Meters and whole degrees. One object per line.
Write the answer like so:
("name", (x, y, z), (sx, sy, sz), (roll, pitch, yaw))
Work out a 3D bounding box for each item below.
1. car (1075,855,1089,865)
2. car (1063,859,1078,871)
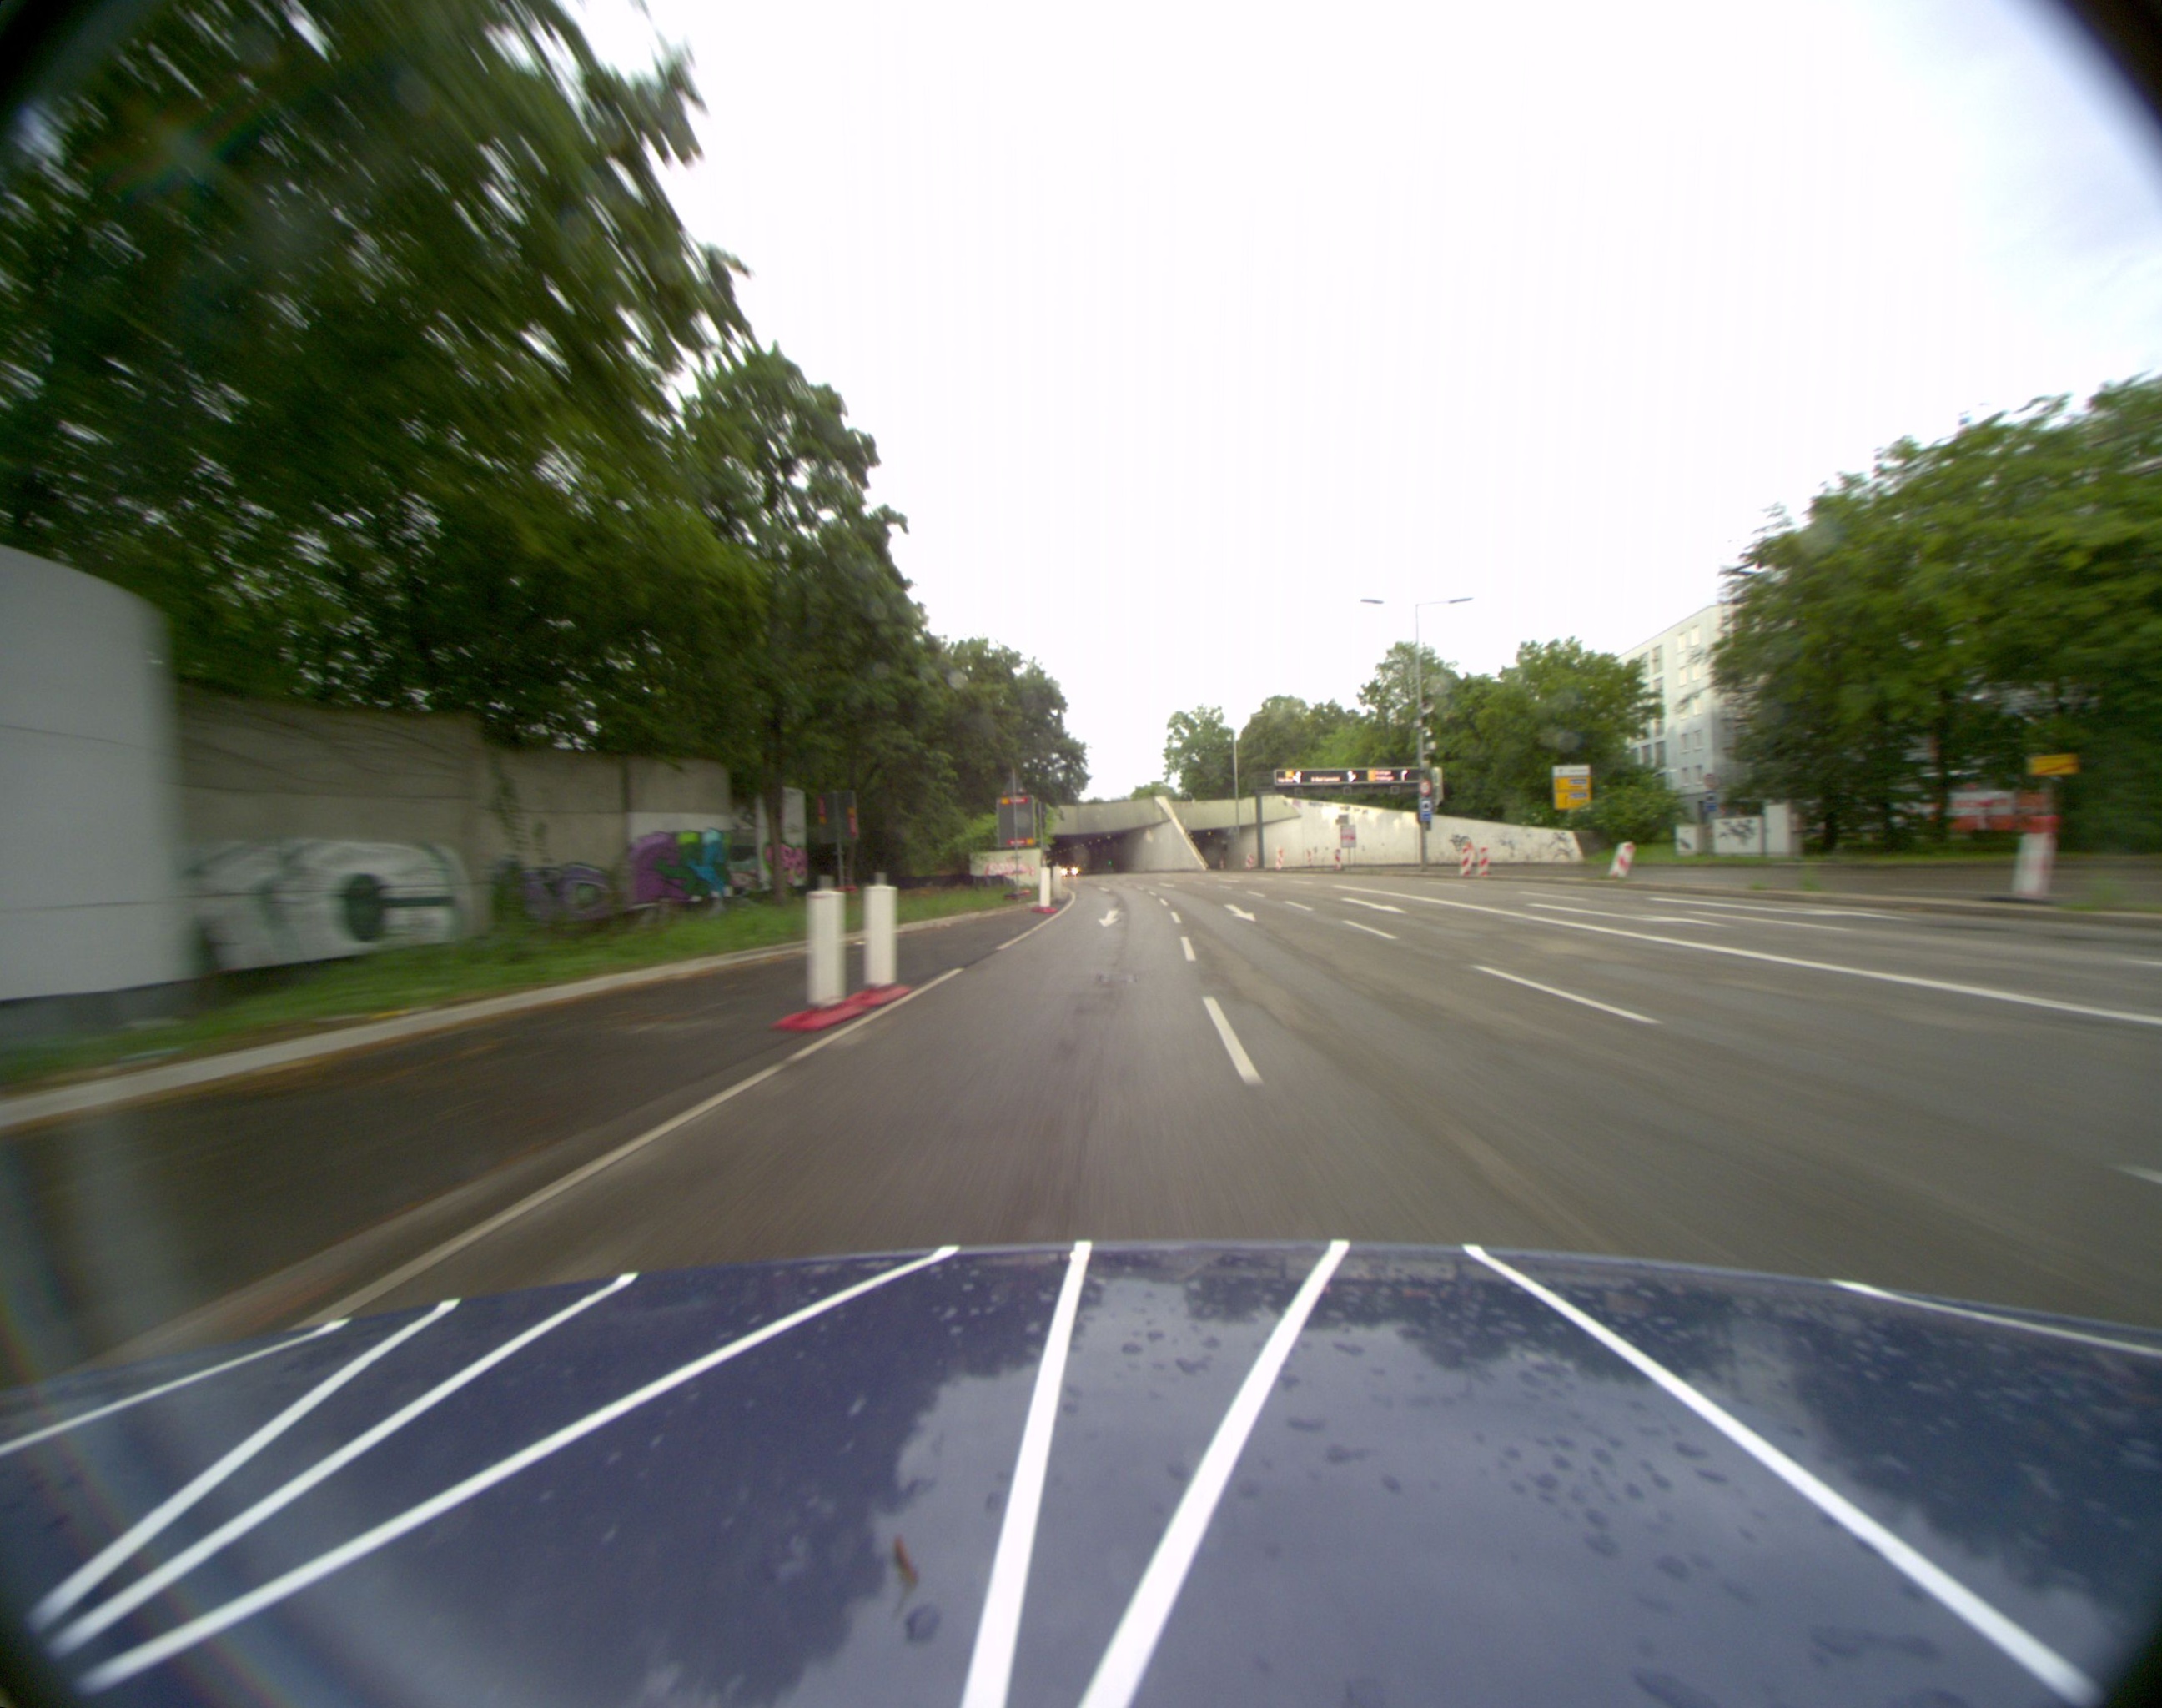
("car", (0.105, 0.941, 118.132), (1.699, 1.300, 3.822), (-2, 1, -7))
("car", (-1.437, 1.397, 99.576), (1.698, 1.393, 3.822), (-2, 1, -5))
